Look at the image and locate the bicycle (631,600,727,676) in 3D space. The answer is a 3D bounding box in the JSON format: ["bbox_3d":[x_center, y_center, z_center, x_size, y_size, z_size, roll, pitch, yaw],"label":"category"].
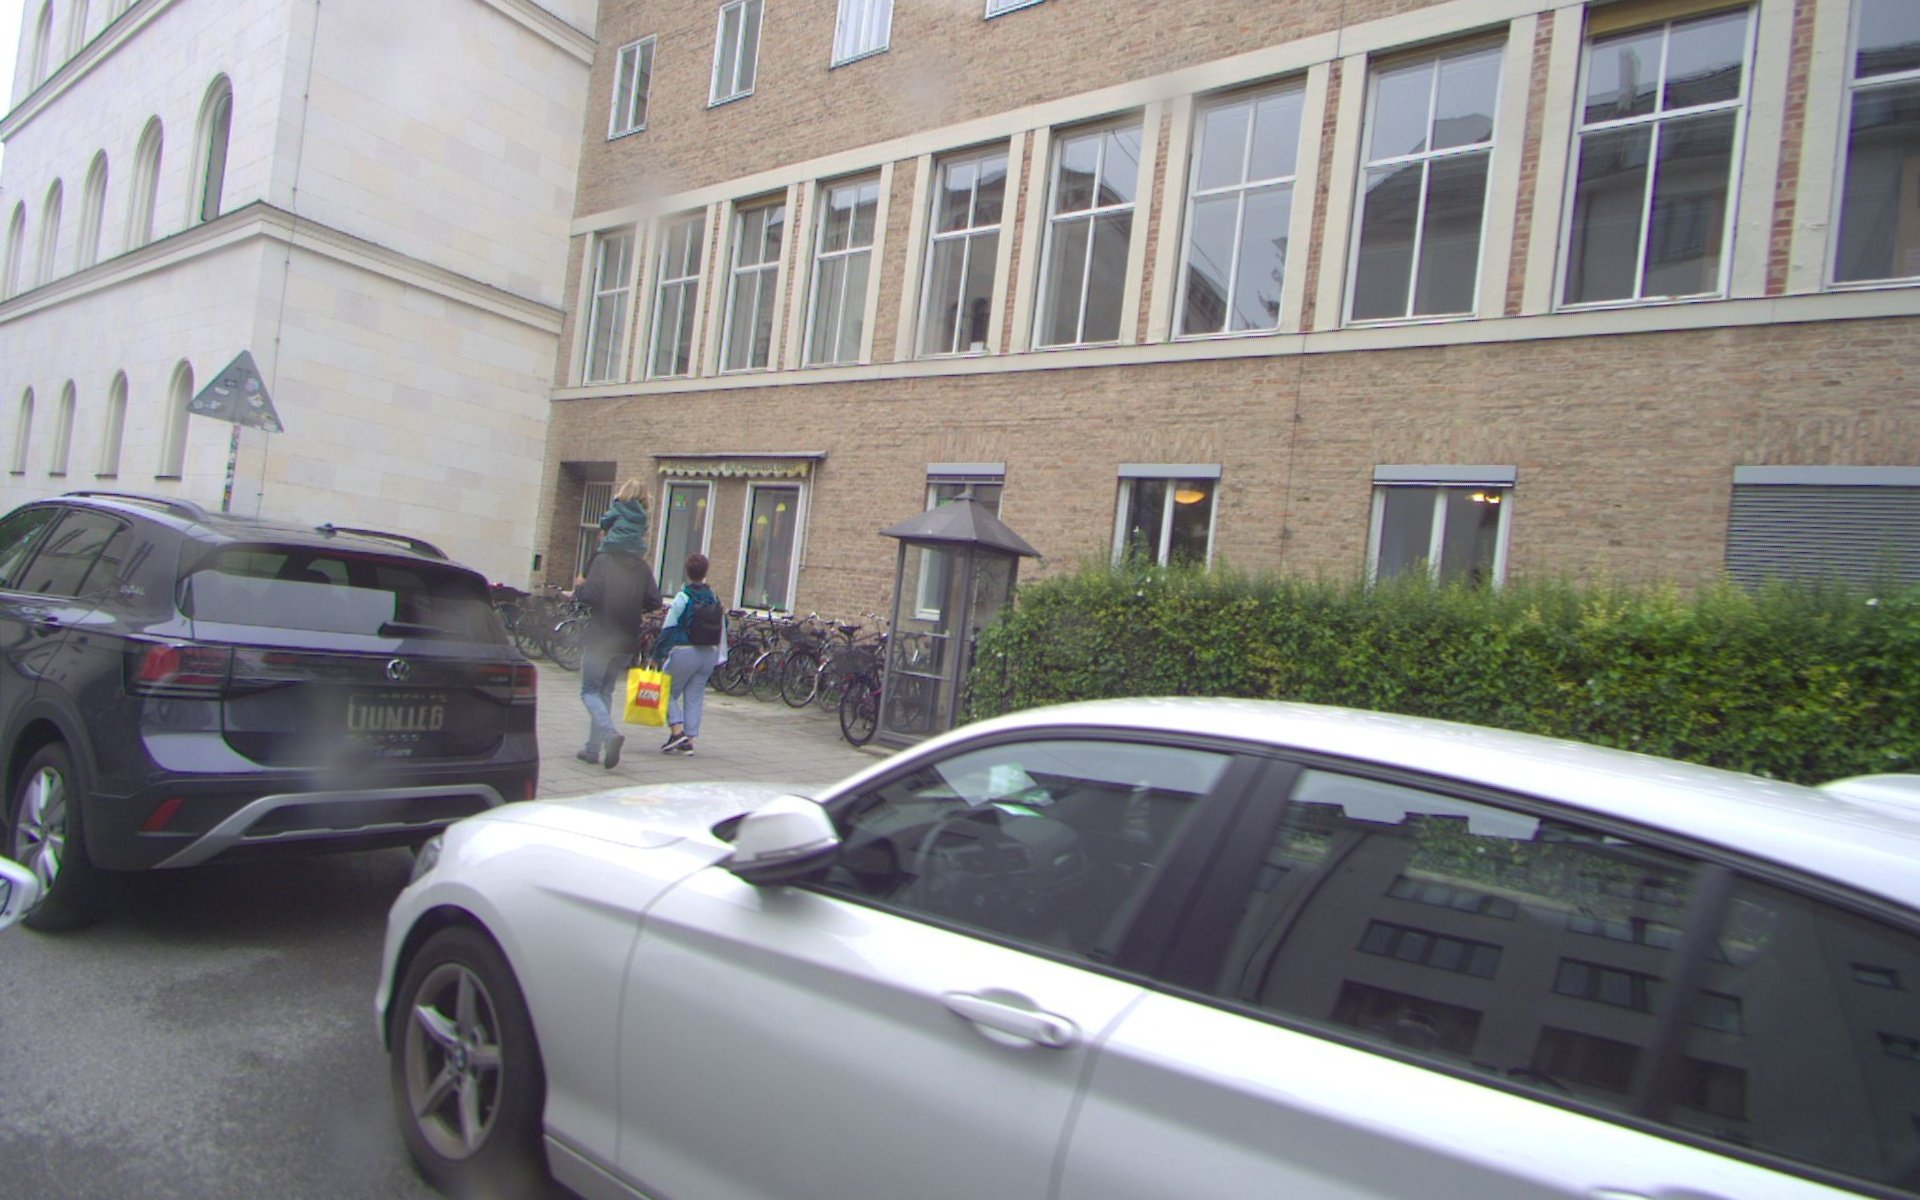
[{"bbox_3d":[-4.267,0.598,15.346,0.343,1.054,1.430,7,0,34],"label":"bicycle"}]

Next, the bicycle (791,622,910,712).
[{"bbox_3d":[-1.354,0.869,12.732,0.343,1.054,1.629,7,0,38],"label":"bicycle"}]

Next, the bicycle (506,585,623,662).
[{"bbox_3d":[-6.080,0.383,15.535,0.343,1.054,1.628,7,0,40],"label":"bicycle"}]

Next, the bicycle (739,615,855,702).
[{"bbox_3d":[-2.142,0.800,13.392,0.343,1.054,1.629,7,0,38],"label":"bicycle"}]

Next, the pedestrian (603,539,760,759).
[{"bbox_3d":[-2.341,0.411,8.450,0.855,1.714,0.743,7,0,-42],"label":"pedestrian"}]

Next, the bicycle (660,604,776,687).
[{"bbox_3d":[-3.363,0.662,14.121,0.343,1.054,1.629,7,0,38],"label":"bicycle"}]

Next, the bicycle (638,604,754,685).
[{"bbox_3d":[-3.762,0.662,14.443,0.343,1.054,1.629,7,0,38],"label":"bicycle"}]

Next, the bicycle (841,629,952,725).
[{"bbox_3d":[-0.741,0.939,12.226,0.343,1.054,1.631,7,0,32],"label":"bicycle"}]

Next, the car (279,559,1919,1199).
[{"bbox_3d":[0.324,0.875,2.356,4.134,1.433,1.676,6,-2,35],"label":"car"}]

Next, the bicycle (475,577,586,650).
[{"bbox_3d":[-7.058,0.240,16.602,0.343,1.054,1.628,7,0,40],"label":"bicycle"}]

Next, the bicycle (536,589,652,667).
[{"bbox_3d":[-5.557,0.450,15.357,0.343,1.054,1.628,7,0,40],"label":"bicycle"}]

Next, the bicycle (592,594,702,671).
[{"bbox_3d":[-4.810,0.524,15.551,0.343,1.054,1.629,7,0,38],"label":"bicycle"}]

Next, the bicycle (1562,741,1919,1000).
[{"bbox_3d":[4.349,1.462,5.719,1.464,1.066,0.422,7,-1,34],"label":"bicycle"}]

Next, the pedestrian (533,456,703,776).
[{"bbox_3d":[-2.562,0.119,7.520,0.789,2.225,0.804,5,1,-40],"label":"pedestrian"}]

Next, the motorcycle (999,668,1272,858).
[{"bbox_3d":[1.304,1.187,7.688,1.892,1.066,0.489,7,-1,32],"label":"motorcycle"}]

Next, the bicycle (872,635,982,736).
[{"bbox_3d":[-0.347,0.981,11.628,0.342,1.054,1.632,7,0,31],"label":"bicycle"}]

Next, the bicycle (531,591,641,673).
[{"bbox_3d":[-5.273,0.472,14.249,0.343,1.054,1.430,7,0,34],"label":"bicycle"}]

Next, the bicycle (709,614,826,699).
[{"bbox_3d":[-2.565,0.782,13.588,0.343,1.054,1.629,7,0,38],"label":"bicycle"}]

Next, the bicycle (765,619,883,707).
[{"bbox_3d":[-1.729,0.839,13.010,0.343,1.054,1.629,7,0,38],"label":"bicycle"}]

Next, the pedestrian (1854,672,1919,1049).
[{"bbox_3d":[4.724,1.218,4.509,0.863,1.652,0.588,7,-1,36],"label":"pedestrian"}]

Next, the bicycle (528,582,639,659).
[{"bbox_3d":[-6.046,0.356,16.244,0.343,1.108,1.628,7,0,40],"label":"bicycle"}]

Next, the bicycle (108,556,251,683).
[{"bbox_3d":[-7.616,0.171,9.799,1.606,1.055,0.348,6,2,25],"label":"bicycle"}]

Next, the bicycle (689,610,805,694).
[{"bbox_3d":[-2.910,0.741,13.880,0.343,1.054,1.629,7,0,38],"label":"bicycle"}]

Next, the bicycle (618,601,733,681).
[{"bbox_3d":[-4.129,0.616,14.712,0.343,1.054,1.629,7,0,38],"label":"bicycle"}]

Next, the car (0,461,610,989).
[{"bbox_3d":[-3.787,0.311,4.889,3.891,1.612,1.750,6,-2,32],"label":"car"}]
